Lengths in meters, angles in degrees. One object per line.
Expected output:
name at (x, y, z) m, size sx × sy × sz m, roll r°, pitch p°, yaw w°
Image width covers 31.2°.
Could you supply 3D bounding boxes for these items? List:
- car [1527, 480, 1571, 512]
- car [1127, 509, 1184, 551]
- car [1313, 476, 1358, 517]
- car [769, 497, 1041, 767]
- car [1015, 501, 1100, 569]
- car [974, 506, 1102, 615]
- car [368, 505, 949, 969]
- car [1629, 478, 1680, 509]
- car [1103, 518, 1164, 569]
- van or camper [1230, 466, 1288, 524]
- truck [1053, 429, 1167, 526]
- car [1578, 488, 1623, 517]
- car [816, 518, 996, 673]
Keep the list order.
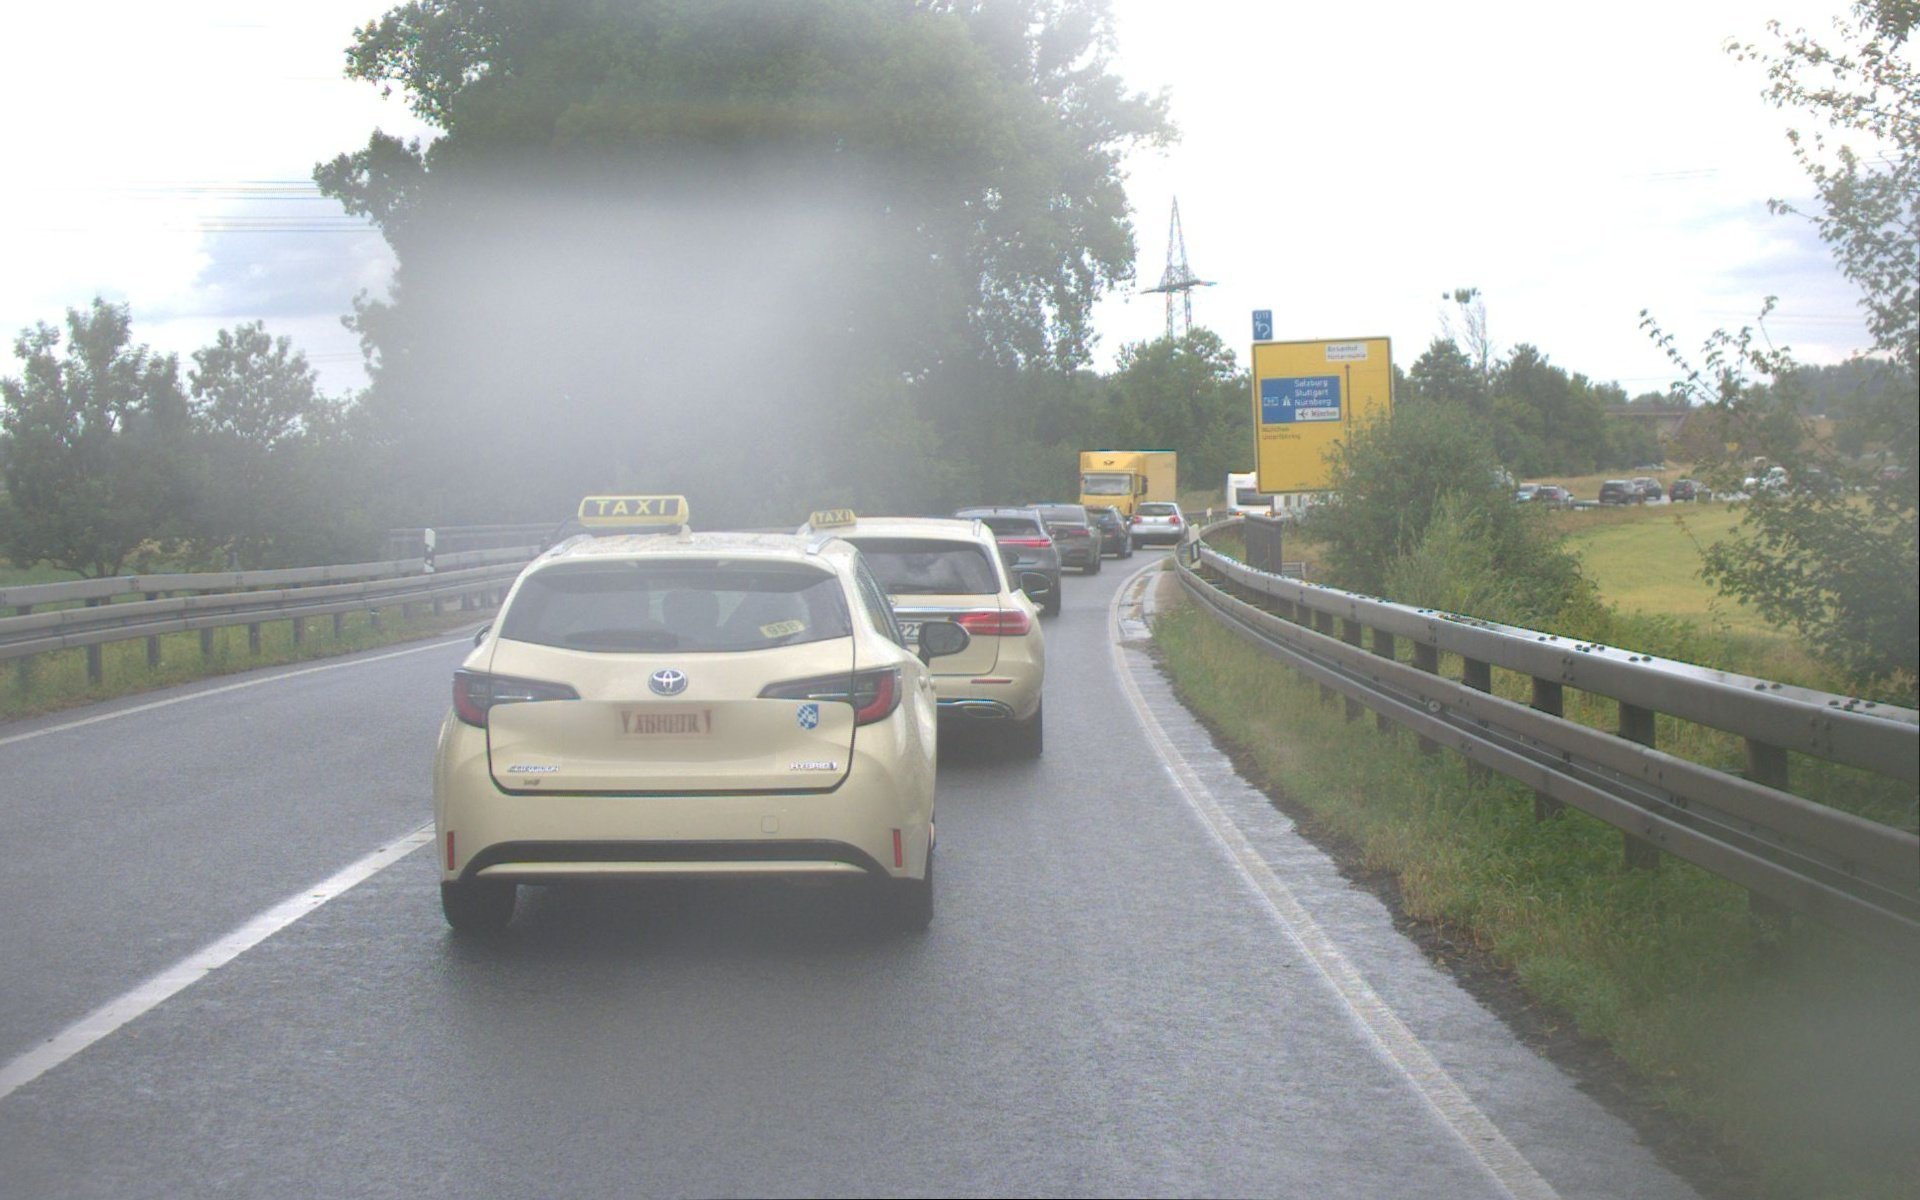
car at (35.069, -6.167, 204.610) m, size 1.922 × 1.831 × 3.996 m, roll 1°, pitch 1°, yaw 20°
car at (6.177, -2.208, 108.275) m, size 1.483 × 1.304 × 3.476 m, roll 0°, pitch 1°, yaw 8°
car at (17.053, -4.676, 156.155) m, size 1.732 × 1.813 × 3.998 m, roll 1°, pitch 1°, yaw 10°
car at (-0.292, 0.139, 21.777) m, size 1.578 × 1.567 × 3.681 m, roll 0°, pitch 1°, yaw 1°
car at (2.104, -1.373, 73.451) m, size 1.660 × 1.404 × 3.904 m, roll 0°, pitch 1°, yaw 4°
car at (1.061, -0.575, 48.095) m, size 1.665 × 1.459 × 3.477 m, roll 0°, pitch 1°, yaw -1°
car at (-1.002, 0.401, 13.436) m, size 1.906 × 1.532 × 4.162 m, roll 0°, pitch 1°, yaw 0°
car at (45.683, -6.994, 226.088) m, size 1.997 × 2.007 × 3.993 m, roll 1°, pitch 1°, yaw 31°
car at (4.611, -1.516, 91.190) m, size 1.483 × 1.304 × 3.476 m, roll 0°, pitch 1°, yaw 5°
van or camper at (11.899, -4.155, 136.603) m, size 1.994 × 2.246 × 3.999 m, roll 1°, pitch 1°, yaw 10°
truck at (5.814, -4.767, 131.819) m, size 2.772 × 3.417 × 9.184 m, roll 2°, pitch 4°, yaw 12°
car at (40.648, -6.179, 218.159) m, size 1.821 × 1.831 × 3.983 m, roll 1°, pitch 1°, yaw 25°
car at (-0.482, -0.083, 33.585) m, size 1.506 × 1.432 × 3.355 m, roll 0°, pitch 1°, yaw 3°
